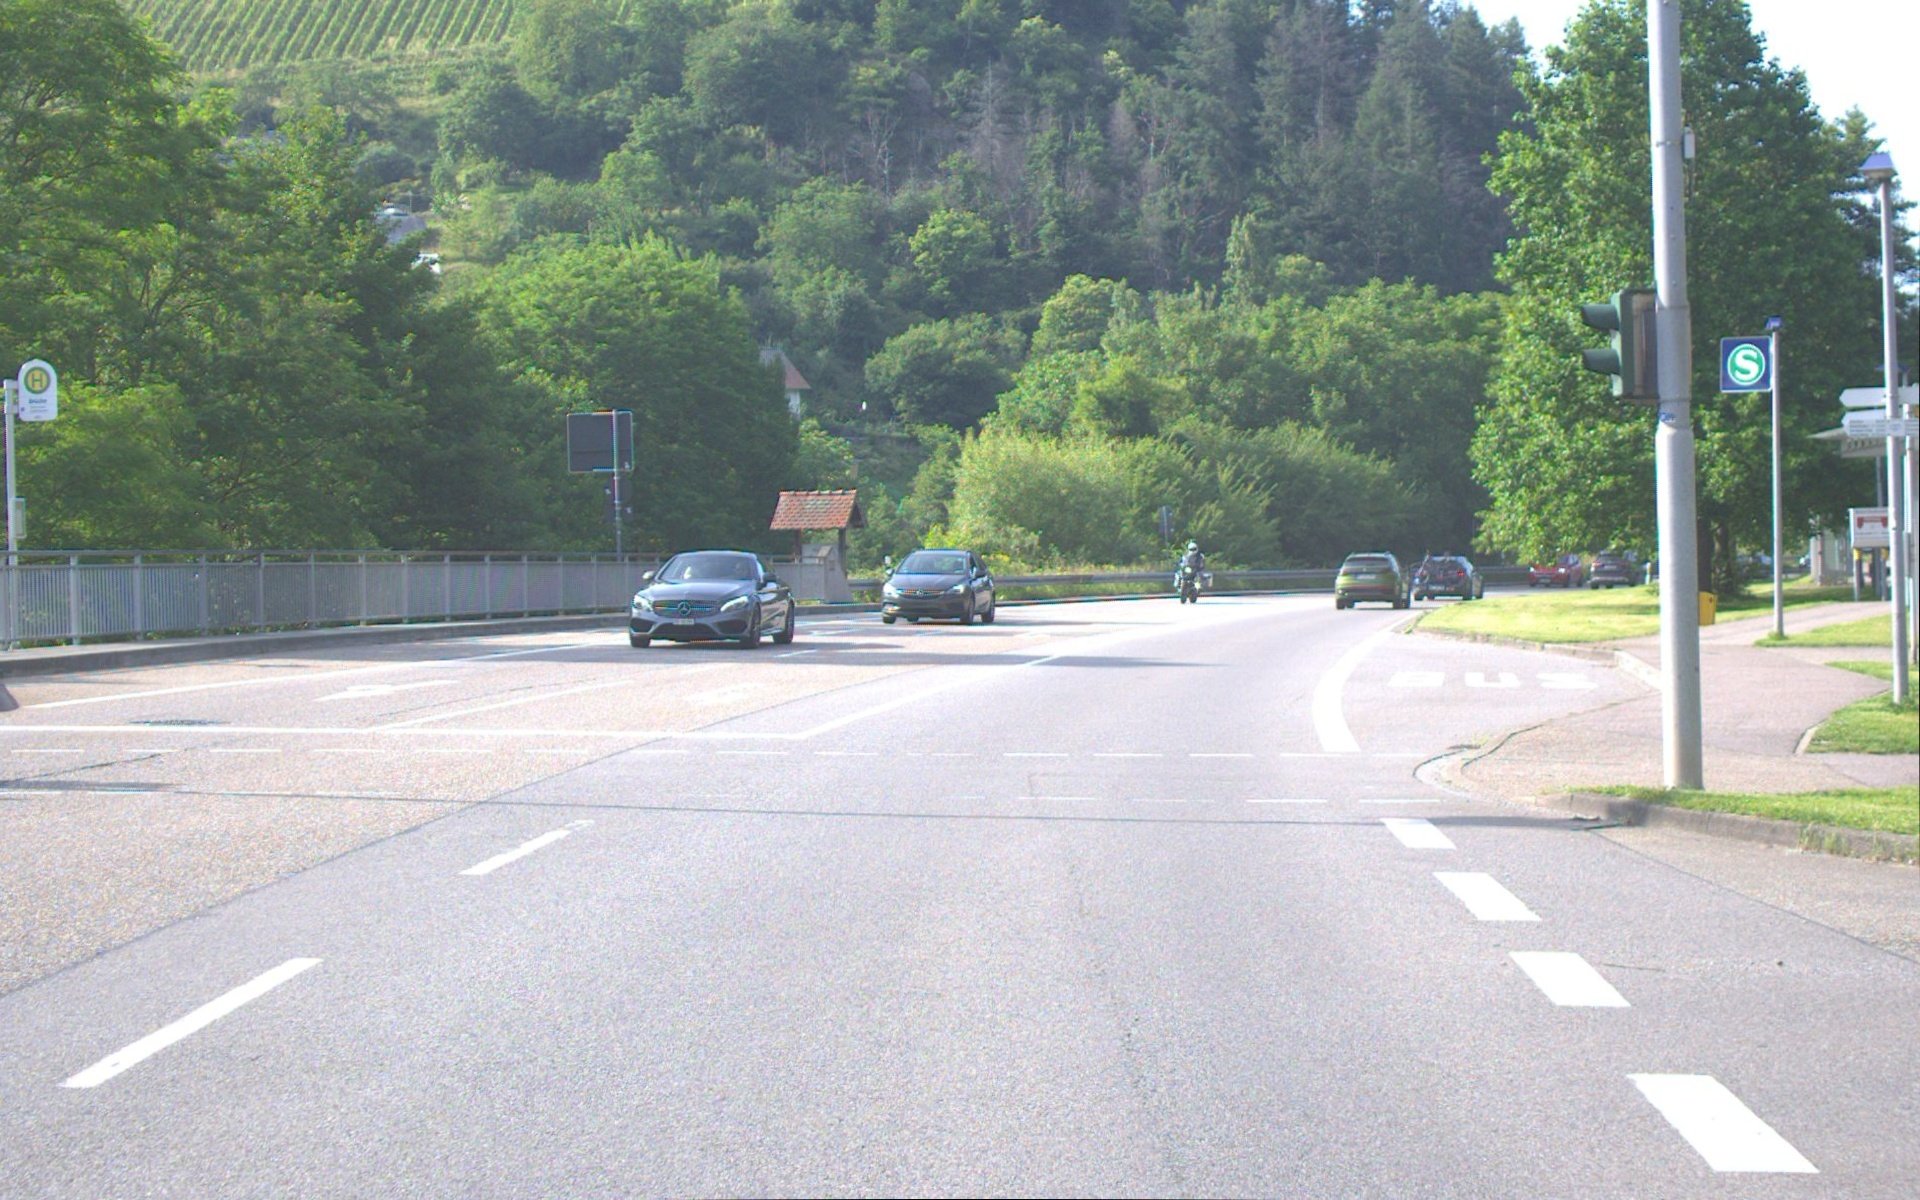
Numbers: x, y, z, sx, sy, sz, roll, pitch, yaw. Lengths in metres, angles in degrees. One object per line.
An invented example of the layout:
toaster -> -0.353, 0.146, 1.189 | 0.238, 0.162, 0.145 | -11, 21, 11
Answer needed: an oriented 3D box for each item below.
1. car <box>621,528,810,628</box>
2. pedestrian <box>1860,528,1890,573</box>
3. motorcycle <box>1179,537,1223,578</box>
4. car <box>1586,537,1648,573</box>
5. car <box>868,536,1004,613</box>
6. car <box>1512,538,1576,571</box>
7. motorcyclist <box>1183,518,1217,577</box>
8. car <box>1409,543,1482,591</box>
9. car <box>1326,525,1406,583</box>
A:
car -> -3.531, -0.353, 50.464 | 1.771, 1.373, 4.643 | 1, 1, 8
pedestrian -> 24.089, -1.310, 90.525 | 0.636, 1.157, 0.725 | -2, 0, 22
motorcycle -> 7.267, -1.284, 103.570 | 0.973, 1.217, 2.571 | 1, 1, 12
car -> 27.597, -1.896, 144.327 | 1.809, 1.448, 3.643 | -2, 0, 23
car -> -0.442, -0.533, 68.610 | 1.786, 1.474, 4.752 | 0, 1, 11
car -> 25.822, -2.022, 151.888 | 1.678, 1.455, 4.196 | 0, 1, 26
motorcyclist -> 7.222, -1.577, 103.425 | 0.845, 1.778, 1.171 | 0, 1, 13
car -> 15.657, -1.072, 110.744 | 1.841, 1.454, 3.710 | -2, 0, 15
car -> 10.852, -1.235, 91.790 | 1.729, 1.452, 3.409 | -2, 0, 13
